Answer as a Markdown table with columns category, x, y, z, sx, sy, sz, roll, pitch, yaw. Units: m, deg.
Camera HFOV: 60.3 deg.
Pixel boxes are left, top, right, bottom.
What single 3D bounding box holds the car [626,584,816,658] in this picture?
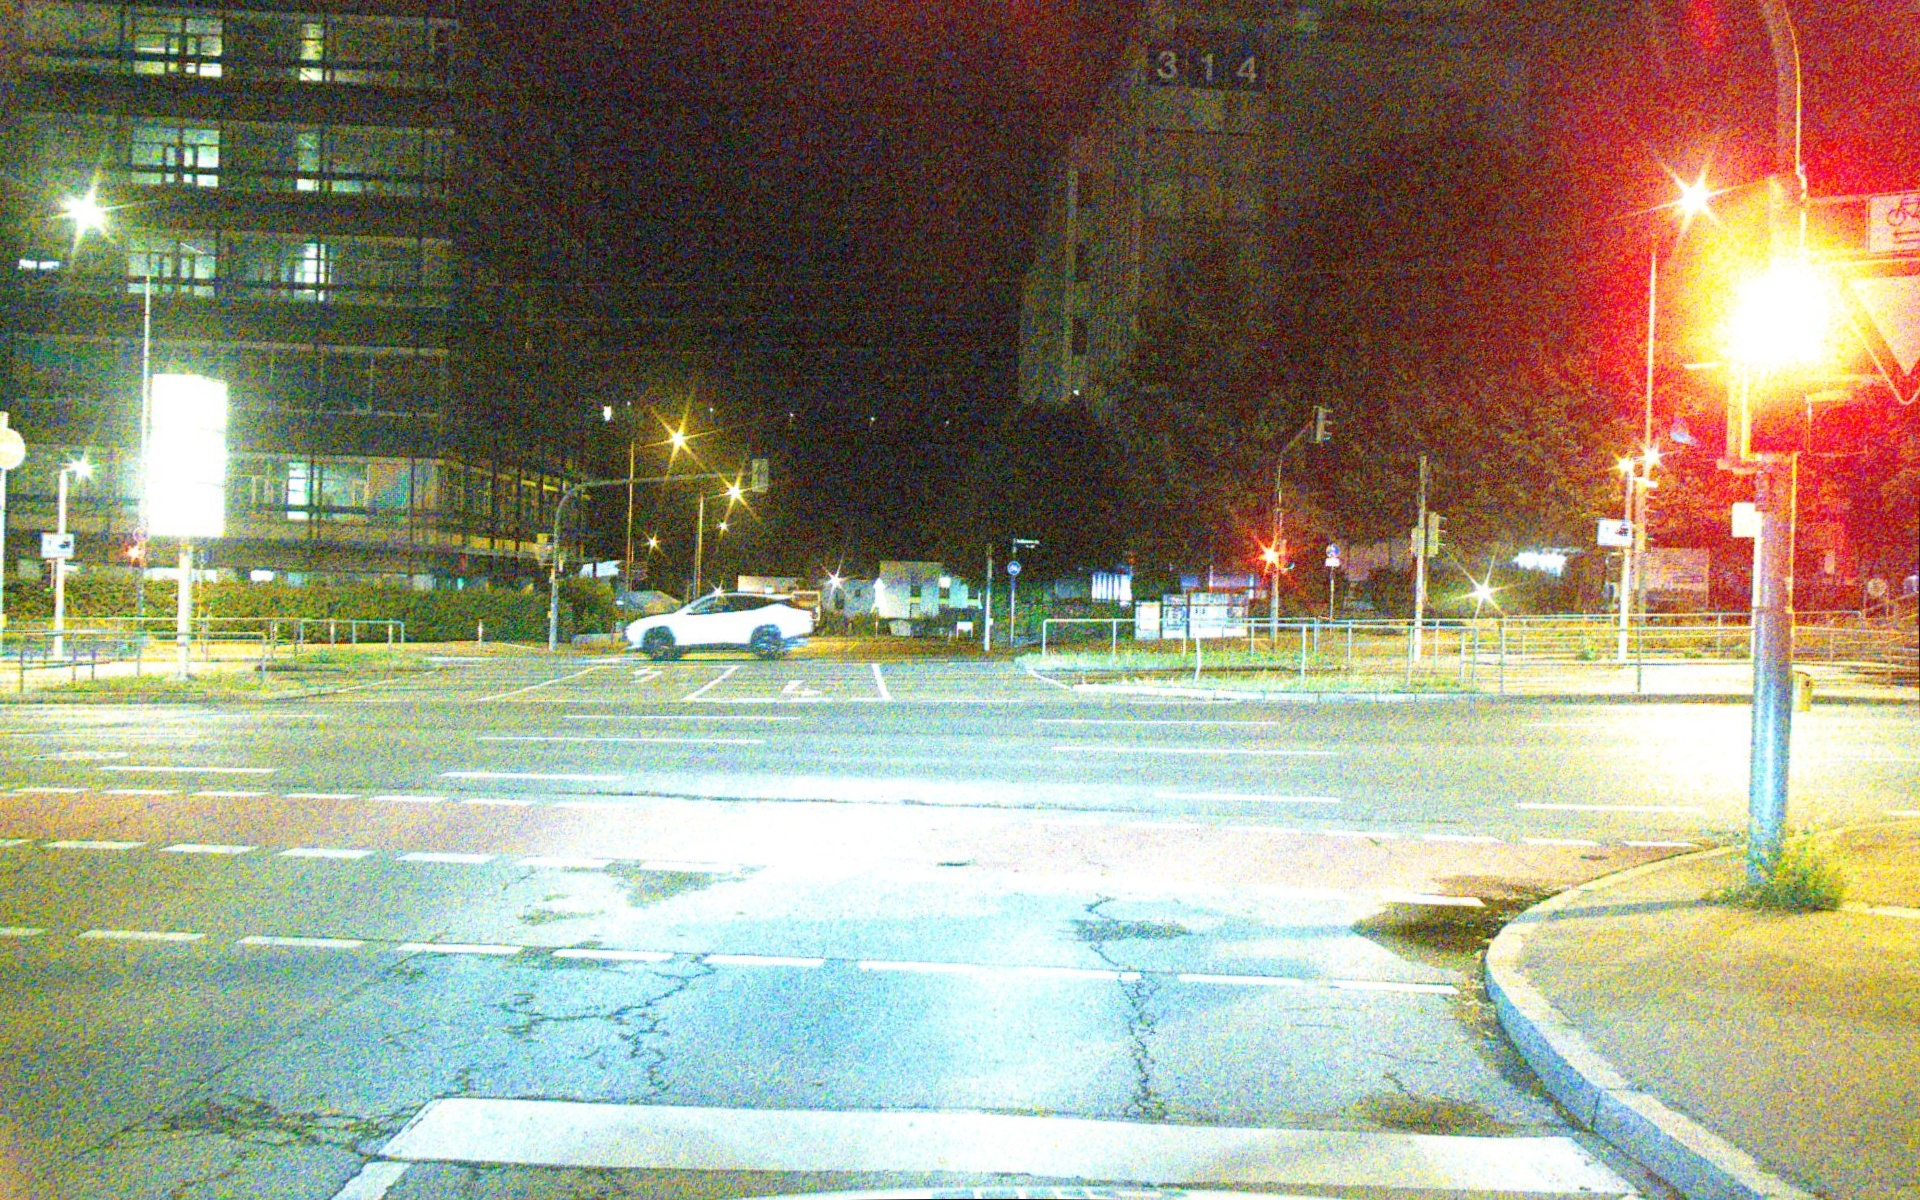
| category | x | y | z | sx | sy | sz | roll | pitch | yaw |
| --- | --- | --- | --- | --- | --- | --- | --- | --- | --- |
| car | -5.854 | 0.512 | 40.812 | 4.306 | 1.672 | 1.942 | 1 | -1 | 2 |

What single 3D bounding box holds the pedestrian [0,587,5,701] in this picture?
| category | x | y | z | sx | sy | sz | roll | pitch | yaw |
| --- | --- | --- | --- | --- | --- | --- | --- | --- | --- |
| pedestrian | -14.905 | 0.666 | 24.996 | 0.668 | 1.752 | 0.701 | 2 | -1 | -23 |

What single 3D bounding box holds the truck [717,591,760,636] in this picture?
| category | x | y | z | sx | sy | sz | roll | pitch | yaw |
| --- | --- | --- | --- | --- | --- | --- | --- | --- | --- |
| truck | -16.303 | 0.988 | 121.575 | 2.377 | 3.143 | 6.414 | 2 | -1 | -14 |

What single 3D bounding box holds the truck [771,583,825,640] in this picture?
| category | x | y | z | sx | sy | sz | roll | pitch | yaw |
| --- | --- | --- | --- | --- | --- | --- | --- | --- | --- |
| truck | -14.620 | 1.020 | 148.607 | 3.307 | 4.927 | 7.868 | 2 | -1 | -17 |

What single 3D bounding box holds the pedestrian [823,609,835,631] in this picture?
| category | x | y | z | sx | sy | sz | roll | pitch | yaw |
| --- | --- | --- | --- | --- | --- | --- | --- | --- | --- |
| pedestrian | -11.696 | 1.801 | 147.261 | 0.836 | 1.945 | 1.001 | 2 | -1 | -18 |
